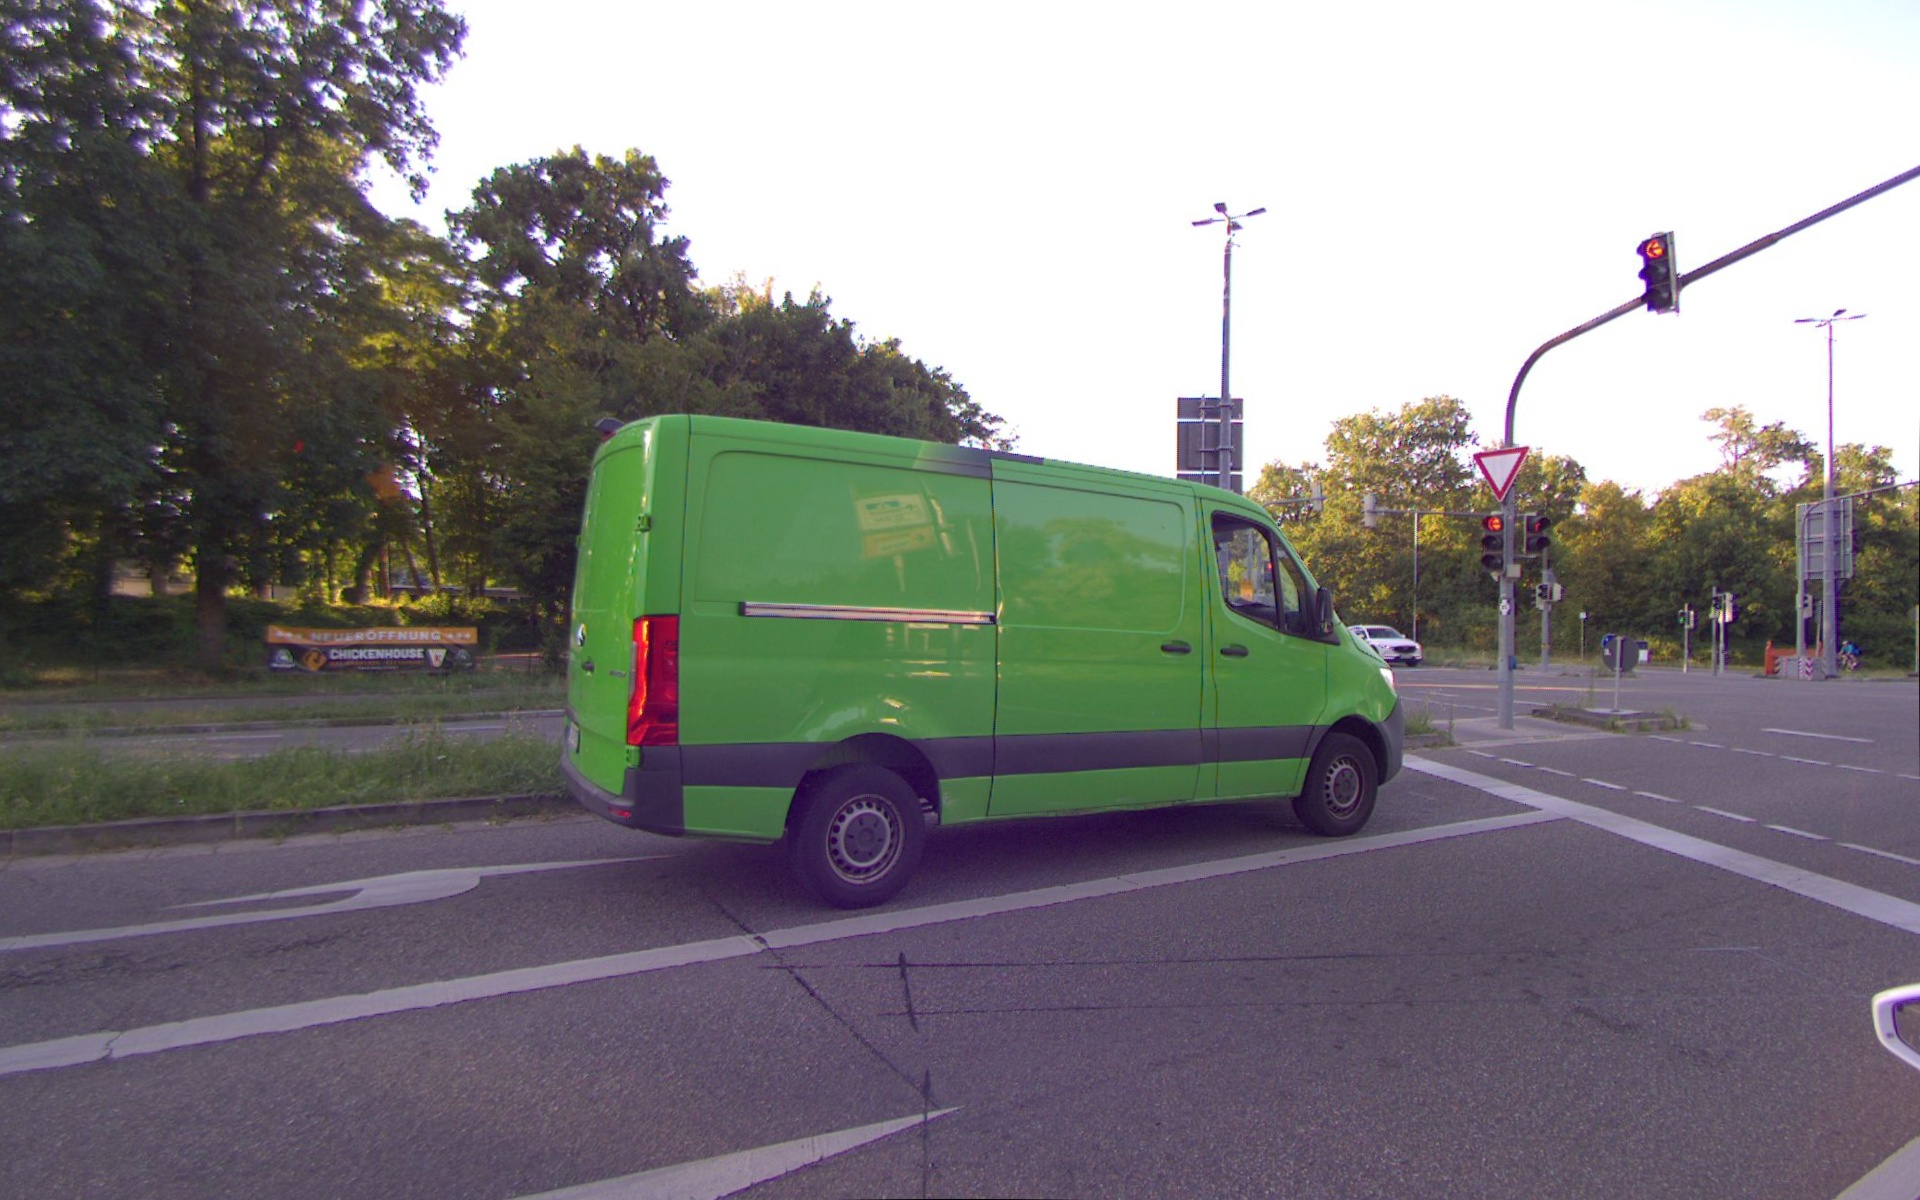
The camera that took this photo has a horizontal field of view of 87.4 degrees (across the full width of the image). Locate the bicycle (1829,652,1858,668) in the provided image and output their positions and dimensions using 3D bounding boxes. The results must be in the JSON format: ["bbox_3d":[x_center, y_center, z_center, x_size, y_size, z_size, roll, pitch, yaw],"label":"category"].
[{"bbox_3d":[47.734,3.258,54.270,1.084,0.836,0.413,0,-1,20],"label":"bicycle"}]

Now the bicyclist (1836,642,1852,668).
[{"bbox_3d":[47.769,2.969,54.268,0.509,1.406,0.407,0,-1,19],"label":"bicyclist"}]

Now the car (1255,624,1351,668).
[{"bbox_3d":[13.810,1.817,40.696,1.963,1.661,4.252,1,-1,-8],"label":"car"}]

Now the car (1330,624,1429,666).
[{"bbox_3d":[17.497,1.851,42.103,1.963,1.661,4.252,1,-1,-8],"label":"car"}]

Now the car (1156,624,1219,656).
[{"bbox_3d":[12.687,2.219,56.198,1.964,1.661,4.250,1,-1,-10],"label":"car"}]

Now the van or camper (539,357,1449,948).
[{"bbox_3d":[0.540,0.296,6.563,5.830,2.453,1.983,2,-1,-32],"label":"van or camper"}]

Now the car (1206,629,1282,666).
[{"bbox_3d":[13.500,2.229,48.045,1.963,1.661,4.252,1,-1,-8],"label":"car"}]
